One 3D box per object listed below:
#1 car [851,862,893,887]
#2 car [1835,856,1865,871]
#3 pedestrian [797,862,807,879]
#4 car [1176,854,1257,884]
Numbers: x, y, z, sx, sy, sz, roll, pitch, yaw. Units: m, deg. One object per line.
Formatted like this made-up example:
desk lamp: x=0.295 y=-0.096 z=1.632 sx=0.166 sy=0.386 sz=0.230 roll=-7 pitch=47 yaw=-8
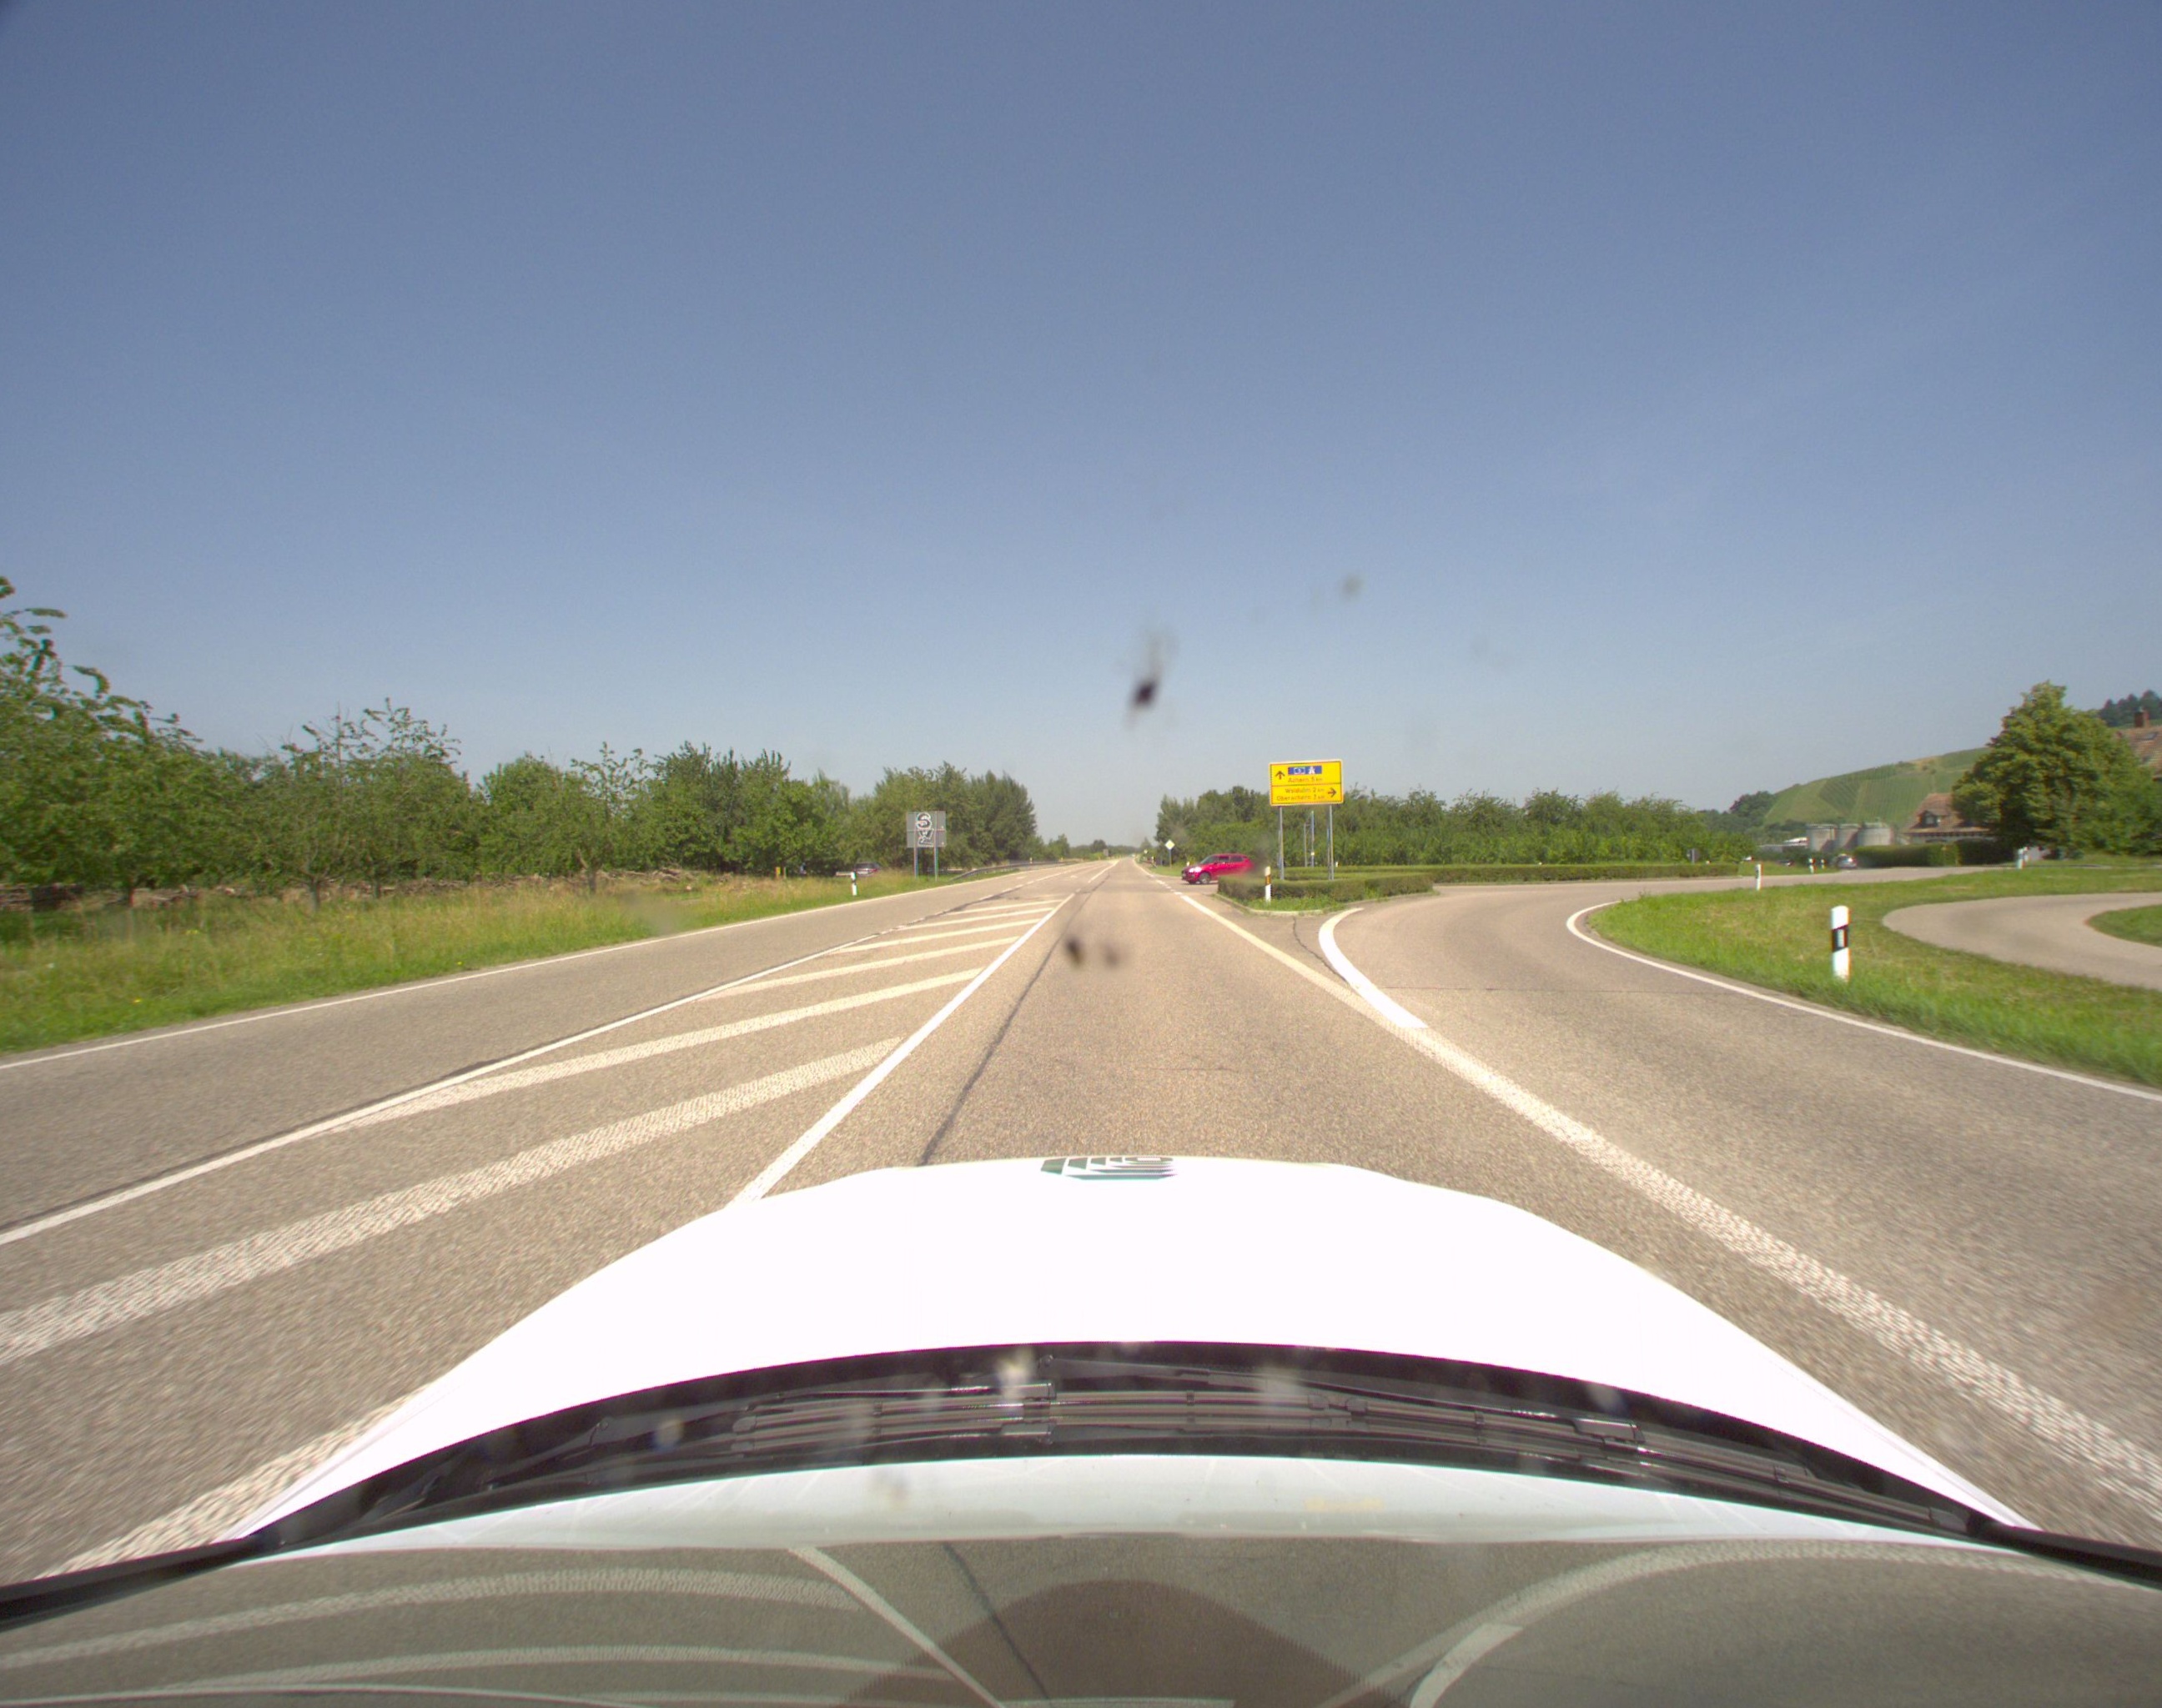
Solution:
car: x=-13.276 y=1.281 z=51.930 sx=1.700 sy=1.423 sz=4.040 roll=-2 pitch=0 yaw=-2
car: x=87.830 y=1.091 z=93.067 sx=1.768 sy=1.684 sz=4.026 roll=-1 pitch=0 yaw=33
pedestrian: x=-22.308 y=1.297 z=65.024 sx=0.570 sy=1.297 sz=0.557 roll=-1 pitch=-1 yaw=4
car: x=6.912 y=0.741 z=41.559 sx=3.746 sy=1.493 sz=1.663 roll=0 pitch=0 yaw=-15
